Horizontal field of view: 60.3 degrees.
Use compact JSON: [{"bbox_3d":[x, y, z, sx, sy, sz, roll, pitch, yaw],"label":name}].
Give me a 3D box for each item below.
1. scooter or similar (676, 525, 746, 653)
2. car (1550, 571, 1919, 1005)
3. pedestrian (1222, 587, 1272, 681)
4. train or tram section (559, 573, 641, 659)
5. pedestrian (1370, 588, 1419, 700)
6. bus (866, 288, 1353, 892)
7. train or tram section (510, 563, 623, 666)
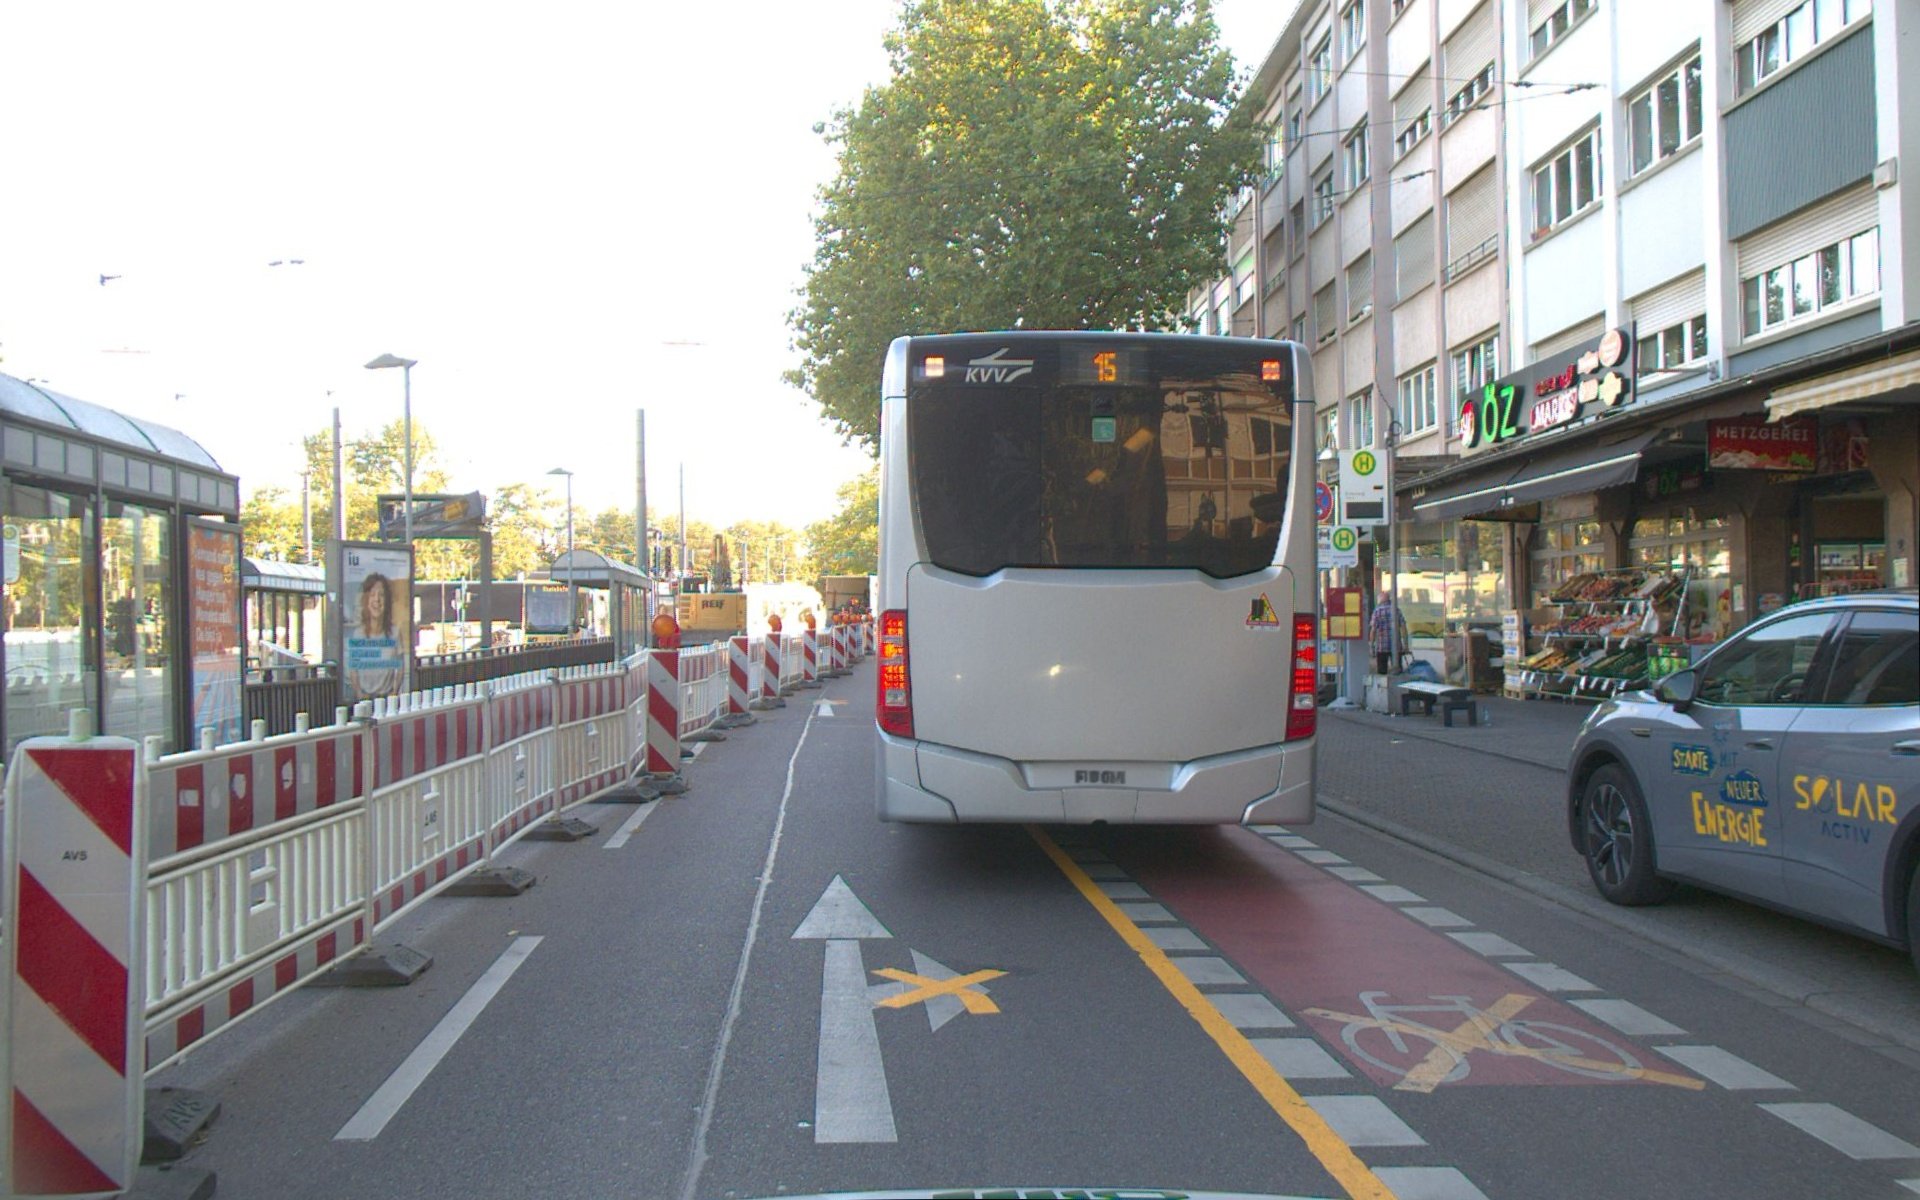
[{"bbox_3d":[-9.229,-0.358,61.796,2.422,4.549,5.962,-1,-1,-7],"label":"scooter or similar"},{"bbox_3d":[4.504,0.686,7.216,1.955,1.609,4.364,-3,0,-5],"label":"car"},{"bbox_3d":[5.354,0.634,30.833,0.859,1.720,0.620,-1,0,14],"label":"pedestrian"},{"bbox_3d":[-16.399,0.771,76.013,2.635,3.621,11.561,1,-1,-7],"label":"train or tram section"},{"bbox_3d":[6.711,0.676,25.527,0.649,1.696,0.601,-3,-1,16],"label":"pedestrian"},{"bbox_3d":[0.786,-0.005,12.830,2.558,3.181,7.991,1,-1,0],"label":"bus"},{"bbox_3d":[-15.115,0.592,64.410,2.634,3.596,11.757,1,-1,-5],"label":"train or tram section"}]
